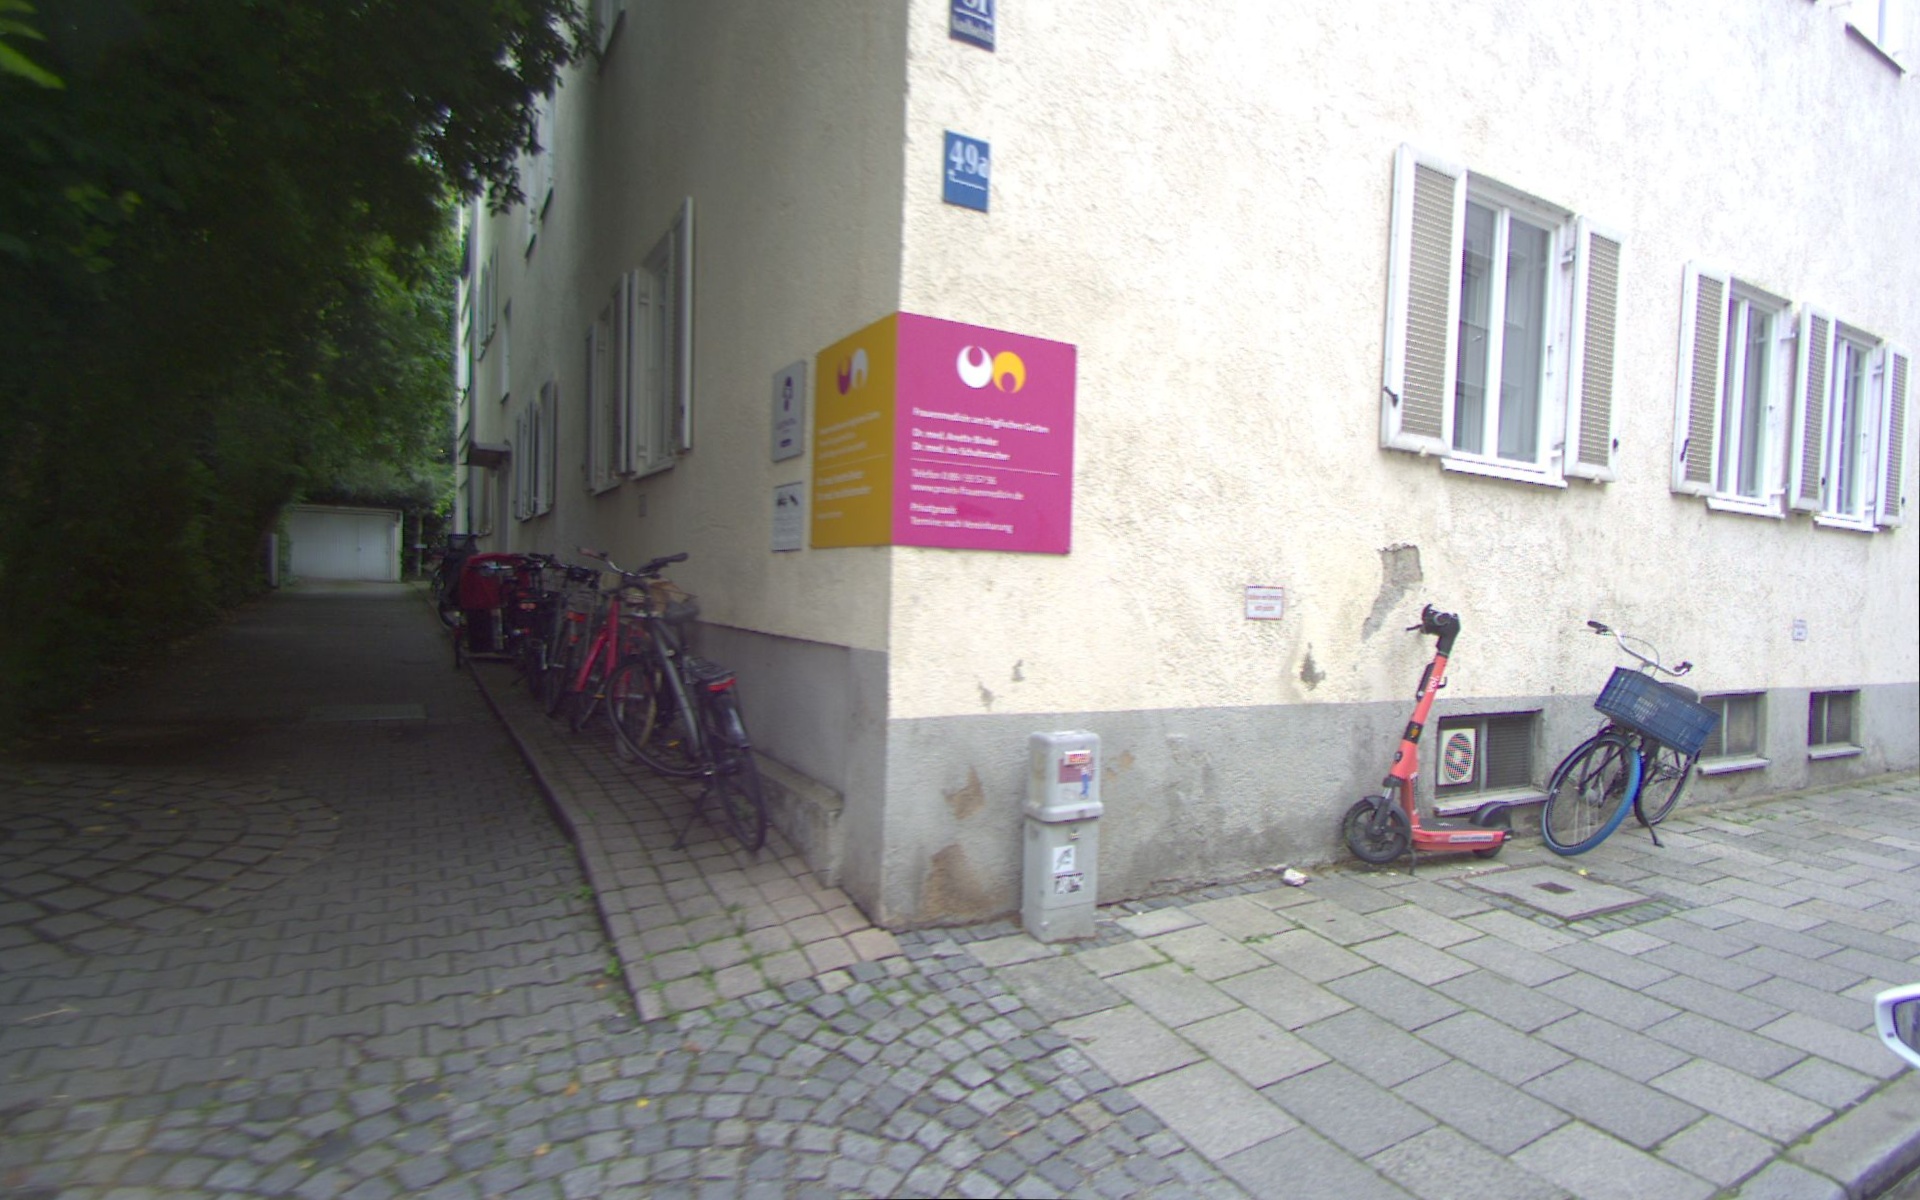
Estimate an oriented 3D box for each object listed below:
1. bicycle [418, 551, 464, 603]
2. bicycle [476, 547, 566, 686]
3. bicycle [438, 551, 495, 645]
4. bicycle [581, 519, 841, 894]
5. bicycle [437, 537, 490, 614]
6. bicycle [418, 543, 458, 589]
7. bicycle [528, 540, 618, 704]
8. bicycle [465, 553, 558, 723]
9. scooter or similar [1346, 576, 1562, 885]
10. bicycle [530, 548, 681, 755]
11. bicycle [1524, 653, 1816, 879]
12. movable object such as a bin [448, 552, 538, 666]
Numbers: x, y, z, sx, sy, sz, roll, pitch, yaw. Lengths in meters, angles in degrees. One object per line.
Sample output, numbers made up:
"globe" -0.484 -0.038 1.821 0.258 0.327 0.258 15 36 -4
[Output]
"bicycle" -12.000 -0.527 23.160 0.765 1.099 2.884 1 1 -31
"bicycle" -4.255 0.118 9.674 0.527 1.211 1.787 1 1 -32
"bicycle" -6.842 -0.052 13.878 0.527 1.211 1.930 1 1 -31
"bicycle" -1.246 0.309 4.581 0.508 1.316 2.188 1 4 -31
"bicycle" -9.041 -0.457 18.263 0.528 1.323 1.927 1 2 -36
"bicycle" -13.521 -0.874 25.975 0.765 1.099 2.884 1 1 -31
"bicycle" -3.192 0.139 8.212 0.378 1.219 1.623 1 1 -32
"bicycle" -3.593 0.250 7.986 0.443 1.219 1.644 1 1 -32
"scooter or similar" 2.464 0.605 4.974 1.225 1.394 0.315 2 0 -31
"bicycle" -2.326 0.261 6.457 0.527 1.149 1.787 1 1 -32
"bicycle" 4.035 0.848 5.667 1.804 0.997 0.699 2 5 -35
"movable object such as a bin" -5.062 0.090 10.877 0.816 1.175 0.746 1 1 -29
